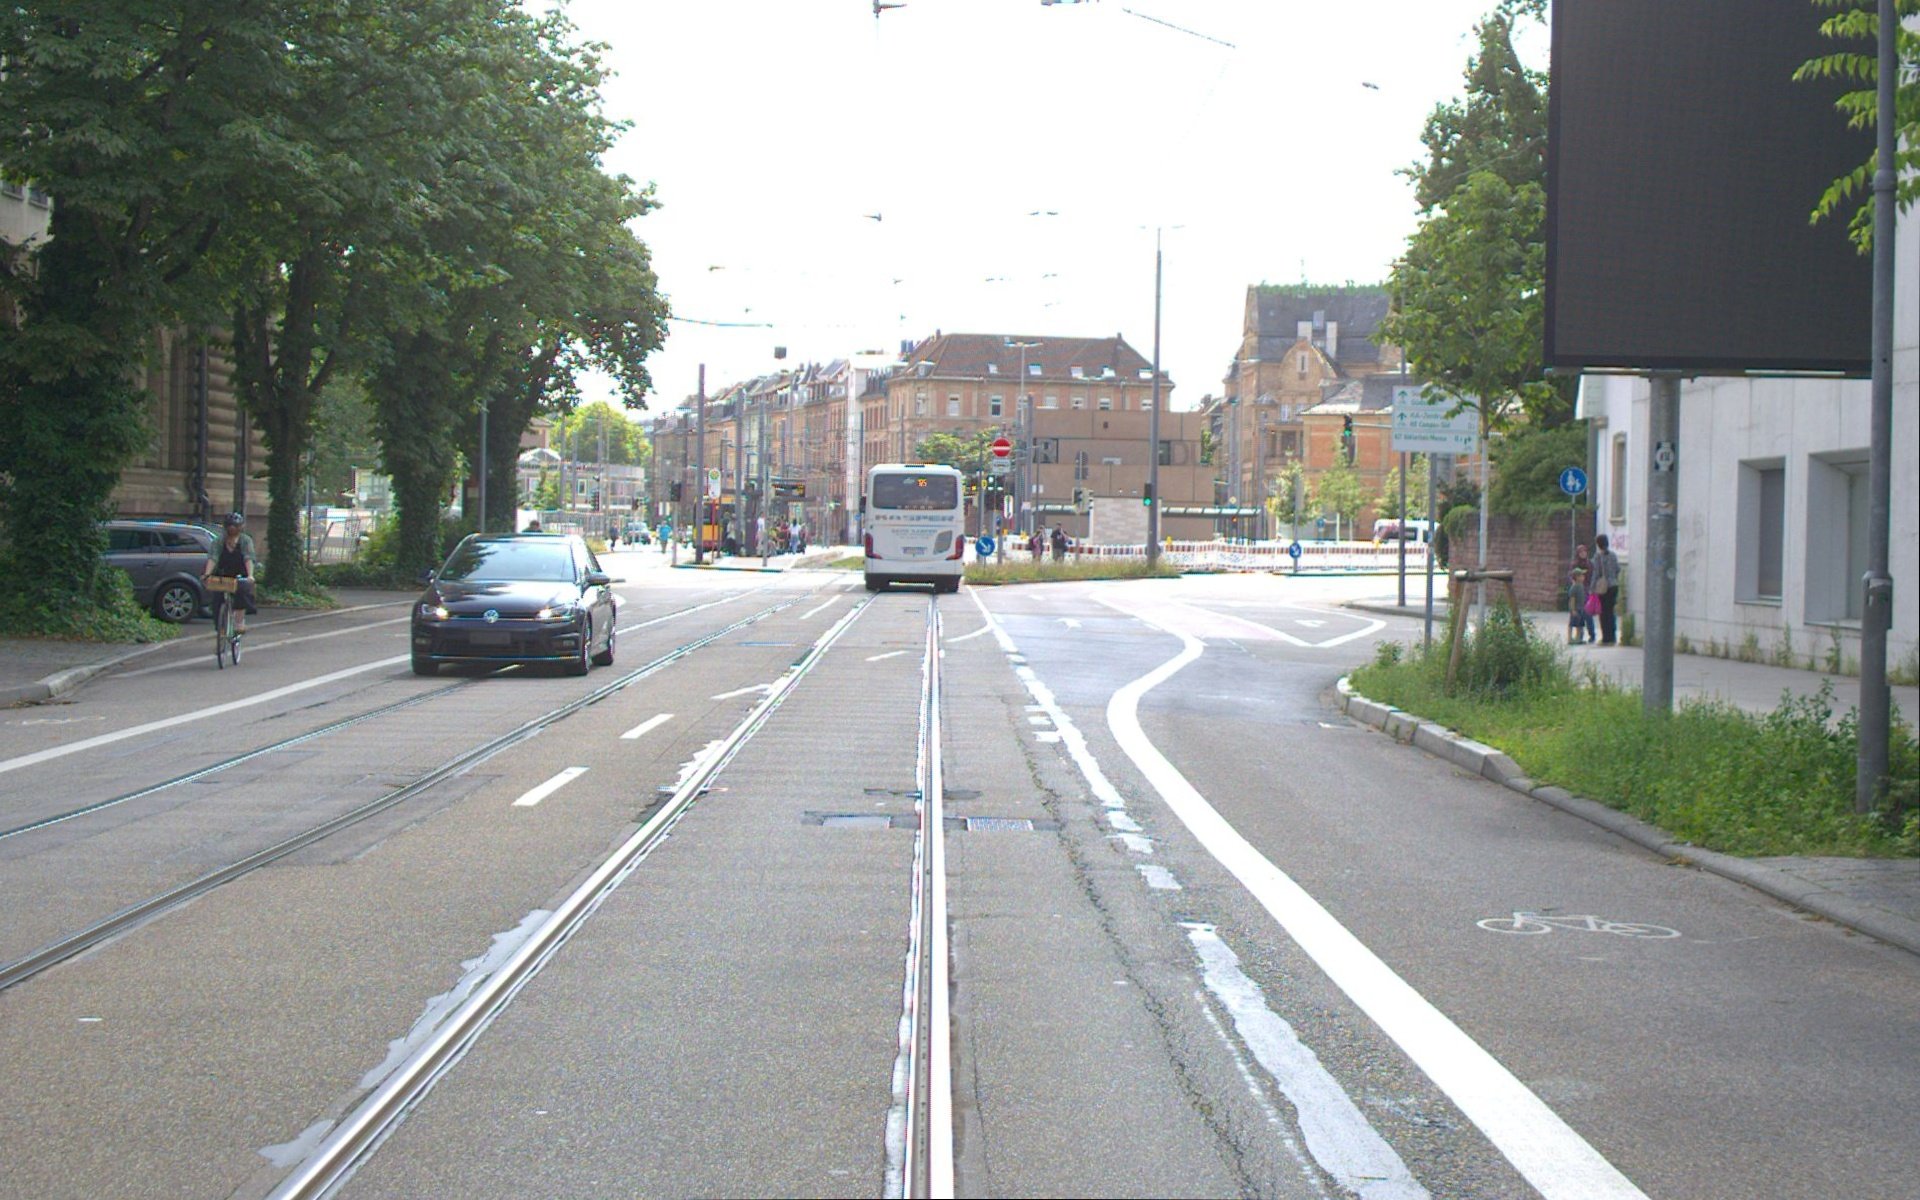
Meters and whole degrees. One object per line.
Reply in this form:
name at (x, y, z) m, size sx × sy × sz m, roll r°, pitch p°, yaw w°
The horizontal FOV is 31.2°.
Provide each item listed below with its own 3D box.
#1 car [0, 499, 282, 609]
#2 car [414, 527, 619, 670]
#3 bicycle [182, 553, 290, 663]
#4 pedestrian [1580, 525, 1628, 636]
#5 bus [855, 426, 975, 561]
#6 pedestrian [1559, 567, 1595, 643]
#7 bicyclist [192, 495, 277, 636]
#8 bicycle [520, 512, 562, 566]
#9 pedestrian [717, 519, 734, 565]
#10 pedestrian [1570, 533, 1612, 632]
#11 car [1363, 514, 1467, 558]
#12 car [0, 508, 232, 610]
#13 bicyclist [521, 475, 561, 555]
car at (-13.010, -0.722, 53.874) m, size 4.227 × 1.545 × 1.927 m, roll 2°, pitch 2°, yaw -31°
car at (-4.576, -0.056, 35.930) m, size 1.688 × 1.397 × 3.931 m, roll 0°, pitch 1°, yaw -1°
bicycle at (-7.894, 0.075, 37.565) m, size 0.602 × 1.093 × 2.023 m, roll -4°, pitch 2°, yaw 2°
pedestrian at (10.185, -0.313, 54.368) m, size 0.685 × 1.718 × 0.747 m, roll 0°, pitch 2°, yaw 6°
bus at (-1.271, -2.795, 93.492) m, size 2.917 × 3.316 × 12.207 m, roll 2°, pitch 1°, yaw -1°
pedestrian at (9.954, 0.076, 55.459) m, size 0.421 × 1.196 × 0.406 m, roll -2°, pitch 3°, yaw -33°
bicyclist at (-7.926, -0.385, 37.605) m, size 0.599 × 1.487 × 0.882 m, roll -4°, pitch 1°, yaw 3°
bicycle at (-8.009, -1.173, 65.796) m, size 0.698 × 1.014 × 1.820 m, roll 0°, pitch 1°, yaw -4°
pedestrian at (-9.768, -2.418, 143.154) m, size 0.611 × 1.878 × 0.794 m, roll 1°, pitch 1°, yaw 0°
pedestrian at (10.285, -0.288, 56.029) m, size 0.519 × 1.575 × 0.549 m, roll -1°, pitch 2°, yaw -10°
car at (24.766, -3.475, 187.269) m, size 2.294 × 2.311 × 5.588 m, roll 1°, pitch 1°, yaw -36°
car at (-13.137, -0.614, 50.961) m, size 4.227 × 1.442 × 1.794 m, roll 1°, pitch 1°, yaw -28°
bicyclist at (-8.009, -1.621, 65.765) m, size 0.691 × 1.514 × 0.868 m, roll 0°, pitch 1°, yaw -4°
